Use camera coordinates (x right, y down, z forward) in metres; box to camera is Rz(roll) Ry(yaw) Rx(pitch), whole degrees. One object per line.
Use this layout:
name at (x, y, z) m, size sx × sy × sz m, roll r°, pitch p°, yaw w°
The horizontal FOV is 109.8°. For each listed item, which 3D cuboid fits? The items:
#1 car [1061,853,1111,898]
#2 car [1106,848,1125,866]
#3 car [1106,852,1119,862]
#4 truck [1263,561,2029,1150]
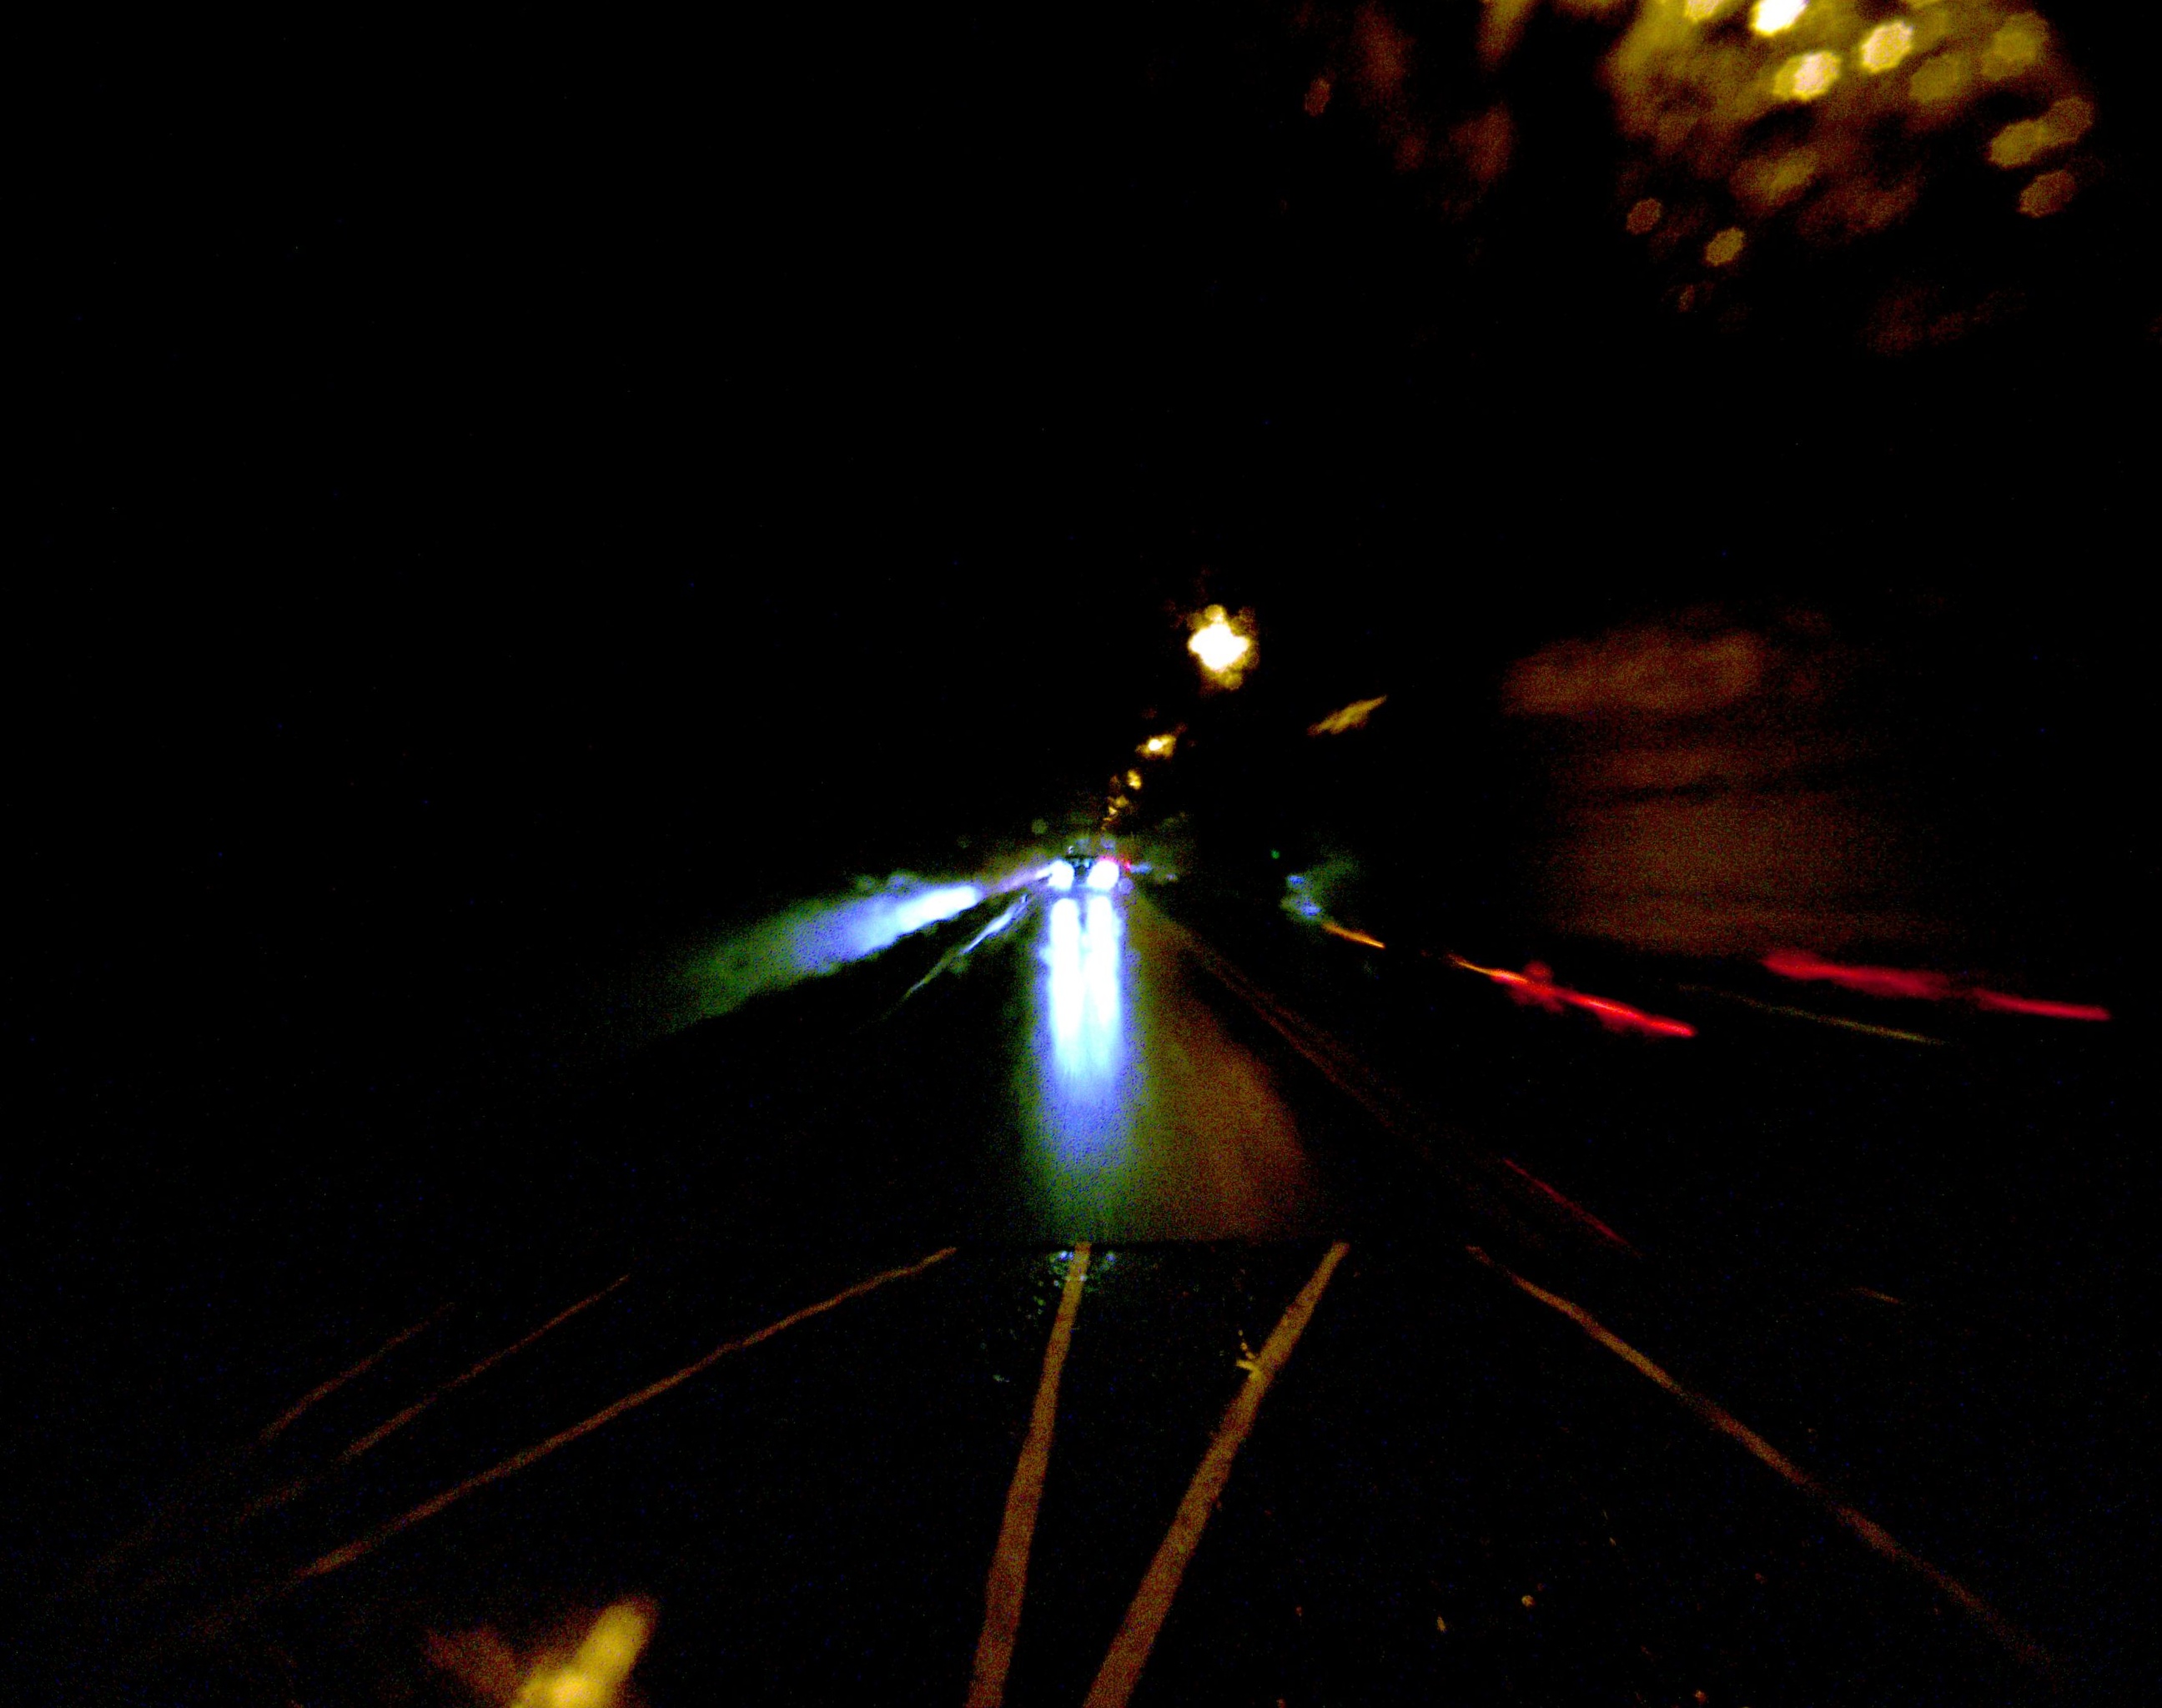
car at (0.206, 0.812, 30.319) m, size 1.829 × 1.650 × 3.929 m, roll -1°, pitch 0°, yaw 1°
car at (3.460, 0.287, 76.114) m, size 1.733 × 1.781 × 3.932 m, roll -2°, pitch 0°, yaw 0°
car at (4.625, 0.452, 113.045) m, size 1.764 × 1.472 × 3.887 m, roll -2°, pitch 0°, yaw 1°
truck at (3.754, 0.002, 7.251) m, size 2.285 × 2.999 × 6.593 m, roll -2°, pitch 0°, yaw -1°
